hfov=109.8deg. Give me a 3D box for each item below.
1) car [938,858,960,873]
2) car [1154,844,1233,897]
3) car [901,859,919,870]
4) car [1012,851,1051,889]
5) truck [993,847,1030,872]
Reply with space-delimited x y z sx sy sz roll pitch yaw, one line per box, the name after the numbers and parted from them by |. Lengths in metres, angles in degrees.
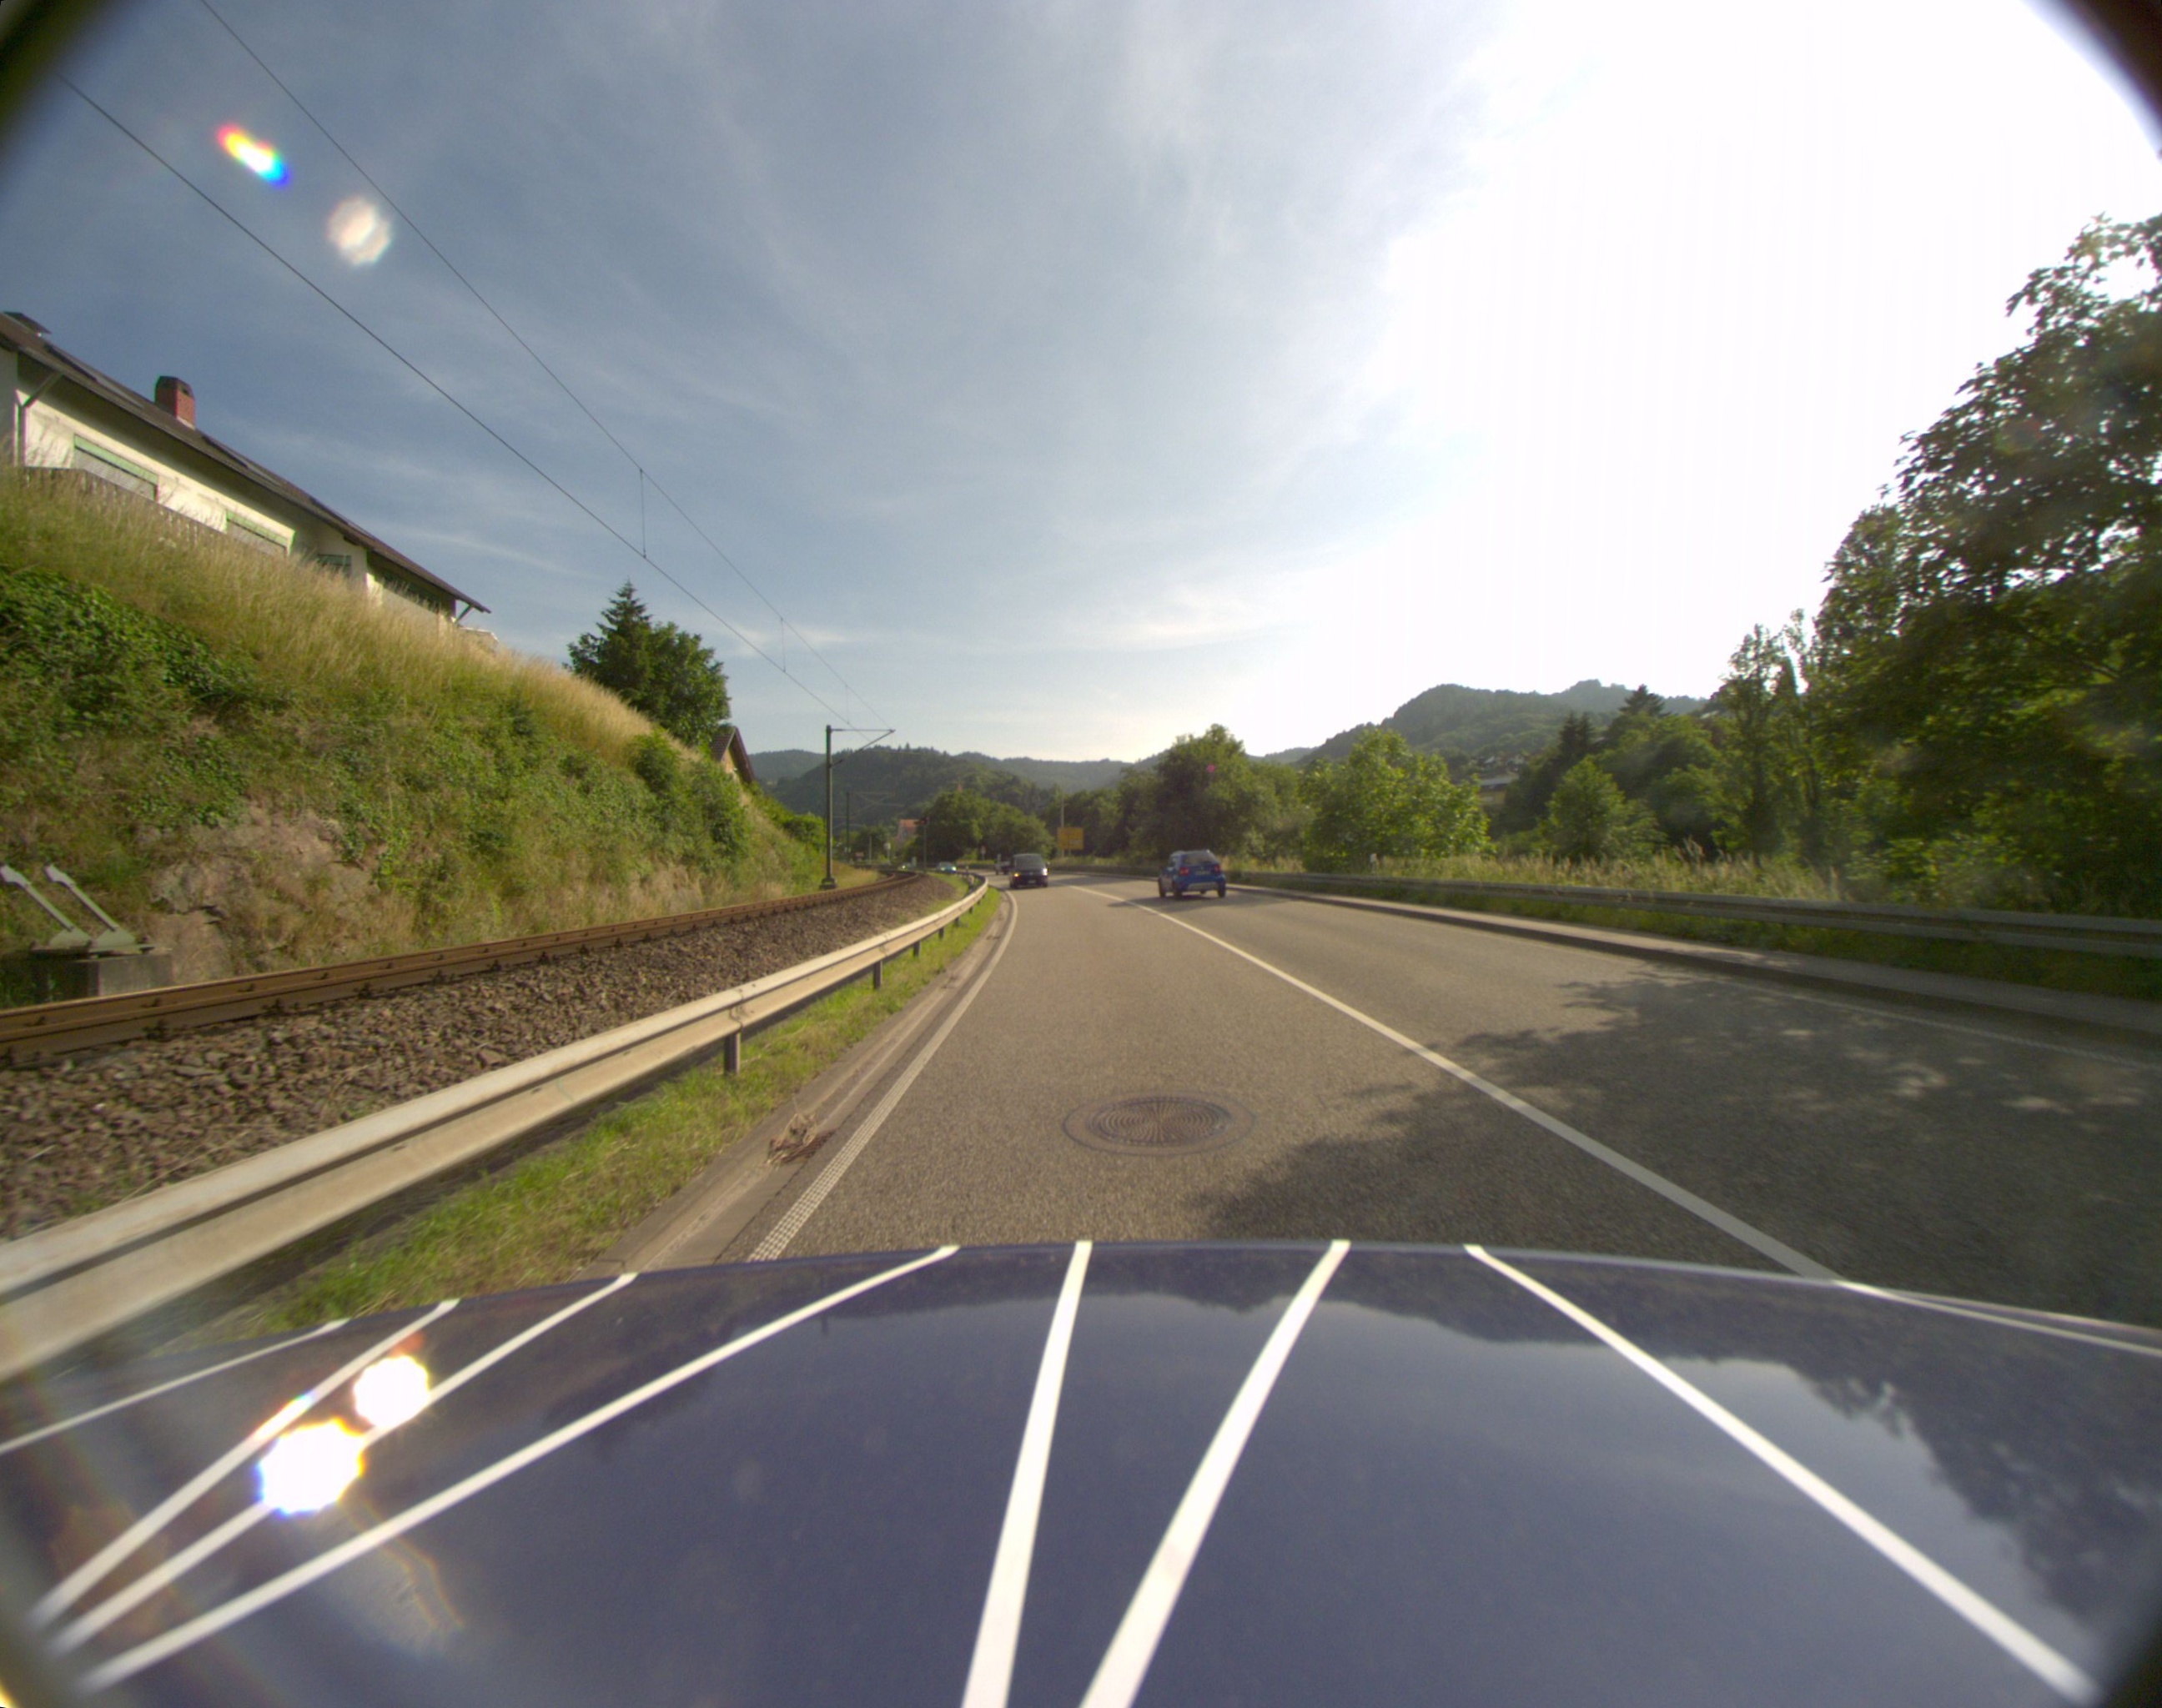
-16.217 1.371 93.257 1.888 1.735 4.172 -2 0 -20 | car
3.763 0.531 26.179 1.756 1.558 3.998 -4 0 -4 | car
-27.266 1.652 120.853 1.889 1.735 4.170 -2 0 -25 | car
-2.838 0.862 43.419 2.019 1.905 4.310 -3 1 -5 | car
-7.392 0.606 80.168 2.165 2.352 6.735 -4 1 -19 | truck
